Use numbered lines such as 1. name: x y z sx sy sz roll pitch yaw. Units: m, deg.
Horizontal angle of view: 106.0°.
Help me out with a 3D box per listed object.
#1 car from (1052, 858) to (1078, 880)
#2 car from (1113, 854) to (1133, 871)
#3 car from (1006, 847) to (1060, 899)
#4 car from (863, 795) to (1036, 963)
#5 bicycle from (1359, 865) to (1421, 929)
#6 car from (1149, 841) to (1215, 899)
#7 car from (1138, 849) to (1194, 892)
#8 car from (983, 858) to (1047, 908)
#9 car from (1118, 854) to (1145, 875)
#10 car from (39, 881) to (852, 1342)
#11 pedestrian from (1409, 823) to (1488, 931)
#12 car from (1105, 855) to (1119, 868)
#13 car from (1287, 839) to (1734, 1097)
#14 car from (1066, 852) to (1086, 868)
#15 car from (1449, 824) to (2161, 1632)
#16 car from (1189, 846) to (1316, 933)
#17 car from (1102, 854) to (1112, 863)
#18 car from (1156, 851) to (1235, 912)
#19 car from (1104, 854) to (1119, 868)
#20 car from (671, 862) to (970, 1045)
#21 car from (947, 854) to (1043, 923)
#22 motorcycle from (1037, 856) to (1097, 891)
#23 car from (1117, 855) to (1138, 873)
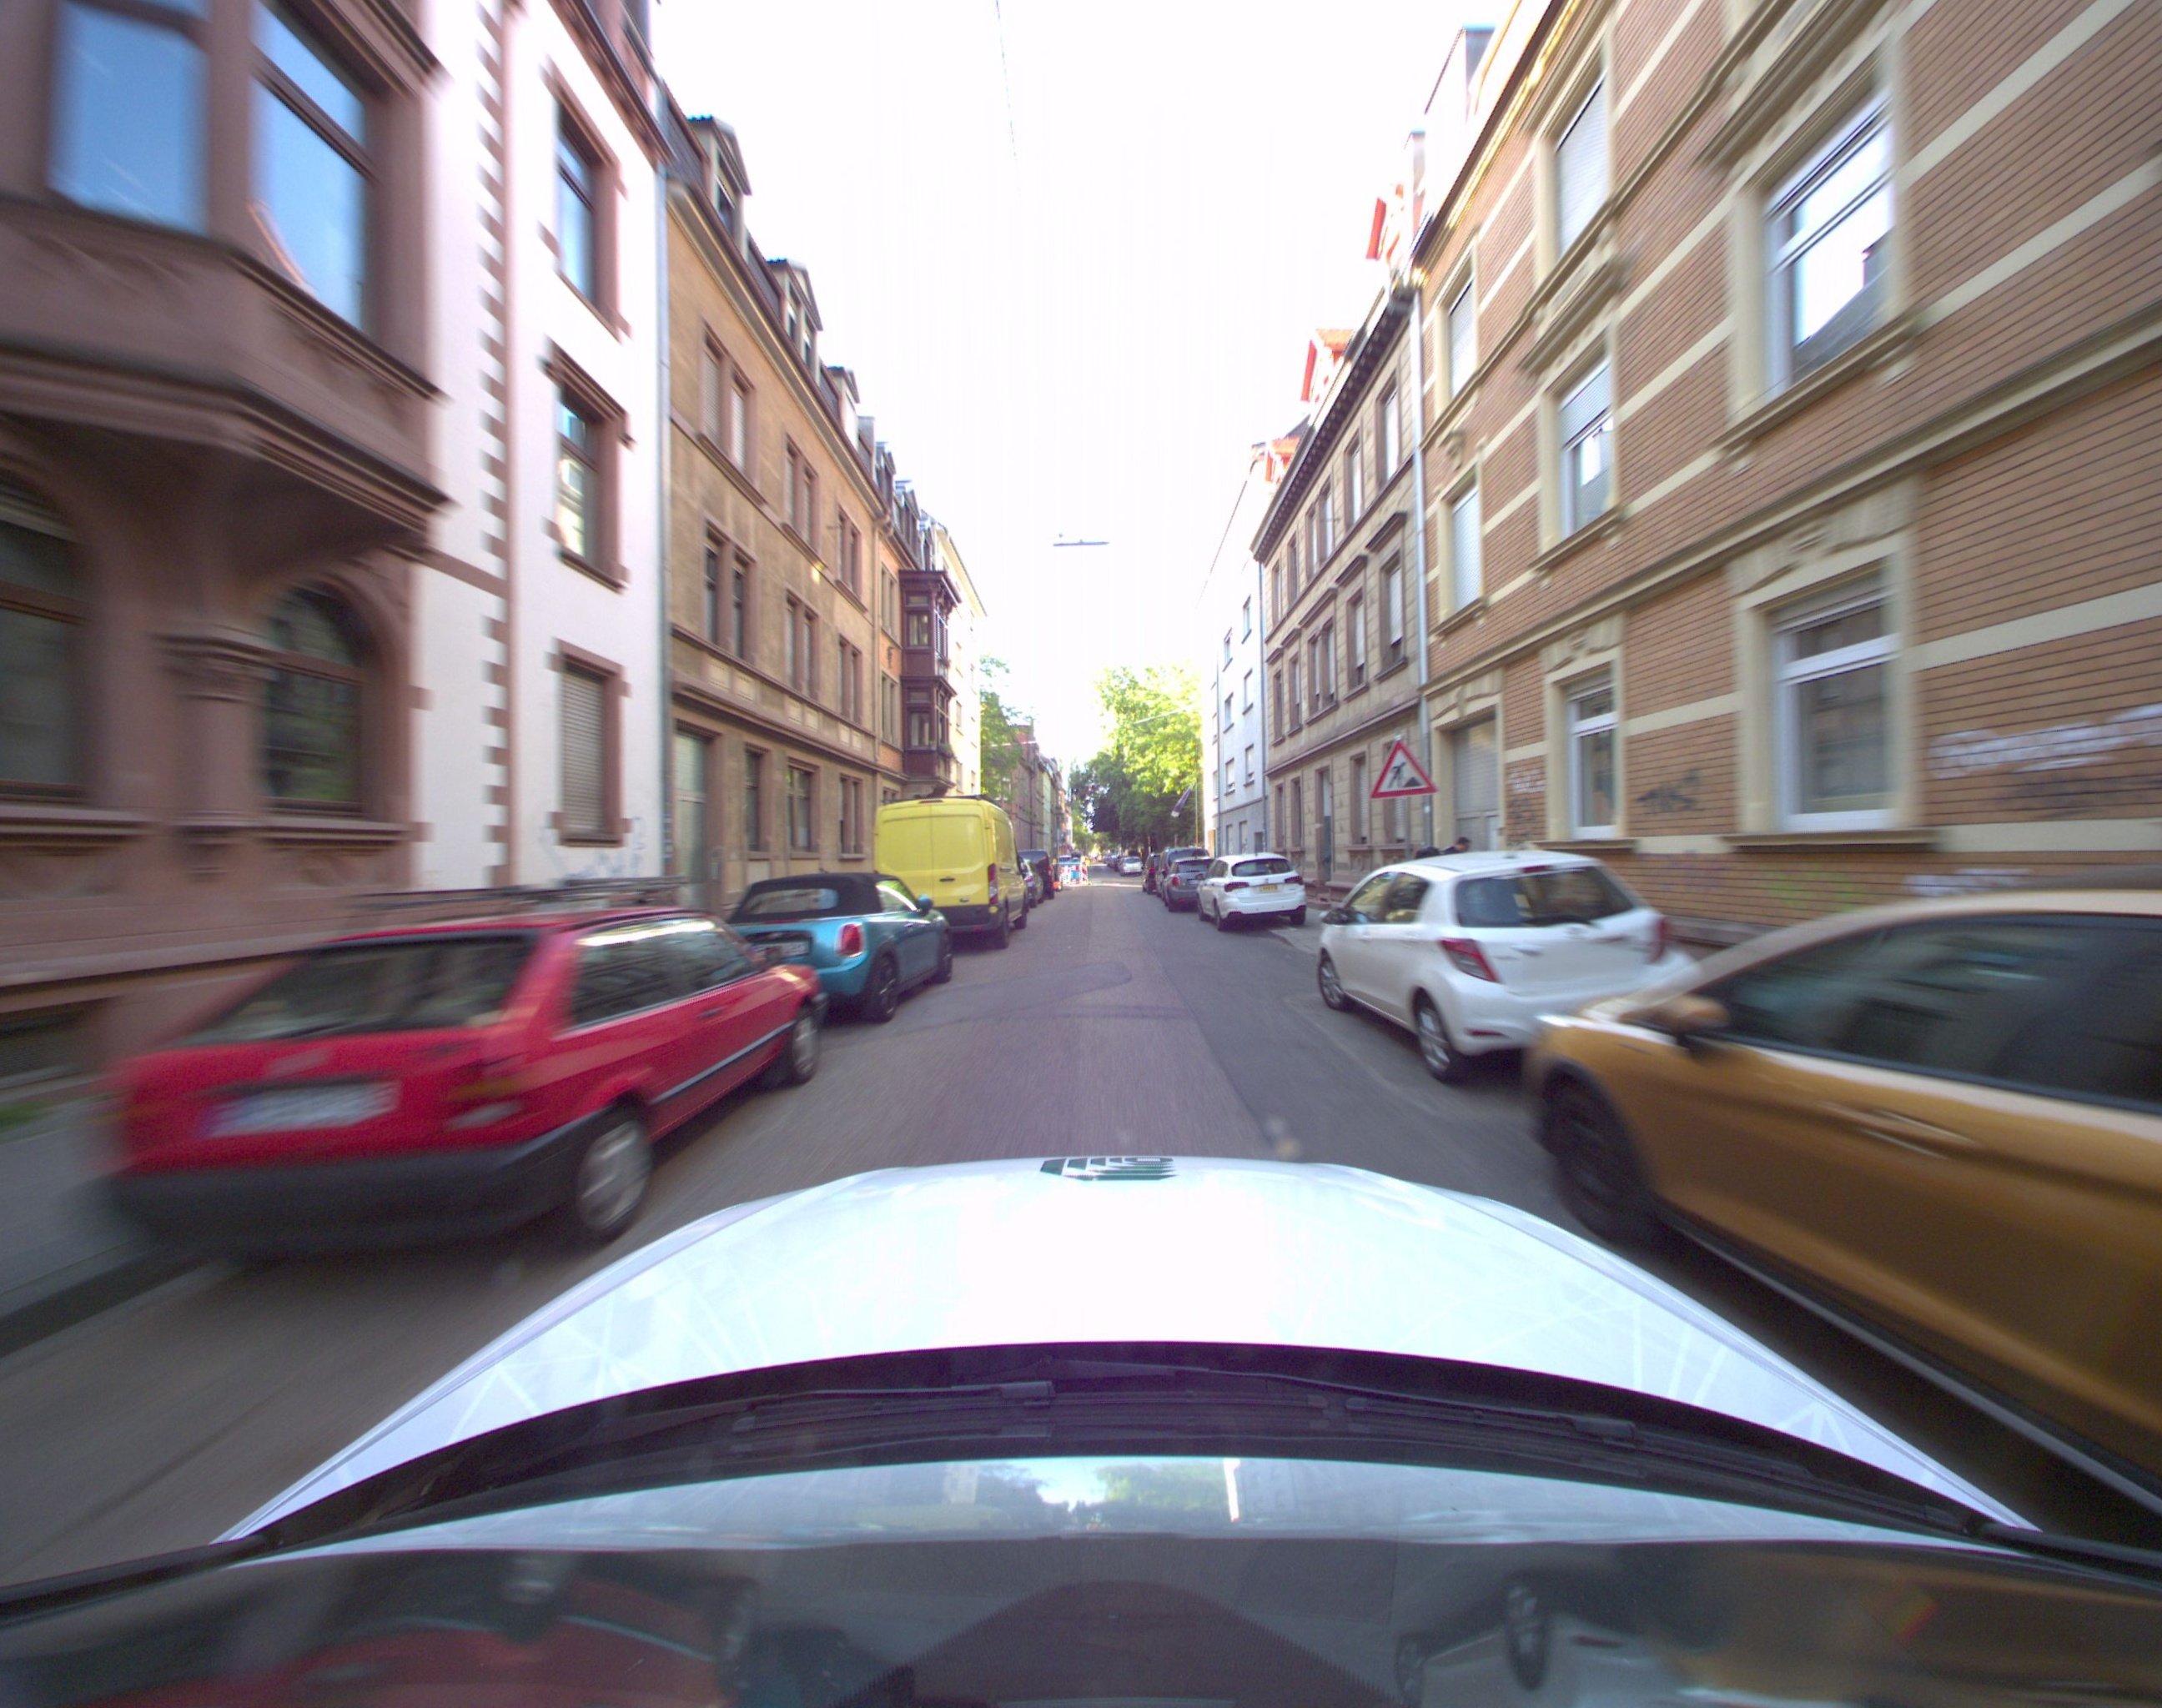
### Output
1. car: -1.329 1.284 69.440 1.875 1.707 4.001 -3 -1 2
2. car: 4.341 0.898 84.545 1.888 1.625 3.999 -1 -1 0
3. car: -1.732 0.668 30.448 1.814 1.766 4.332 -1 0 -2
4. car: -2.232 0.394 15.764 2.168 2.508 5.878 -4 0 1
5. bicycle: 5.708 0.767 15.126 0.515 1.066 1.568 -3 0 0
6. car: 3.524 0.522 29.158 1.748 1.786 4.724 -4 0 1
7. car: 3.451 0.660 33.828 1.894 1.640 4.391 -1 -1 1
8. car: -2.027 0.863 26.008 1.671 1.449 3.645 0 0 1
9. car: 3.925 0.783 63.348 1.719 1.522 3.997 -2 0 -2
10. car: -2.646 0.922 4.552 1.613 1.326 3.612 -4 0 0
11. pedestrian: 5.811 0.359 12.893 0.659 1.630 0.870 -2 -1 -41
12. car: 4.422 1.080 115.618 1.823 1.703 4.000 -1 0 0
13. car: 3.229 0.723 7.189 1.715 1.480 4.082 -5 0 0
14. car: -0.614 0.796 107.468 2.300 2.114 5.172 -1 -1 2
15. car: 2.857 0.687 2.219 1.748 1.446 4.067 -5 0 -1
16. car: 3.580 0.673 17.829 1.748 1.518 4.443 -5 0 0
17. car: 5.485 0.906 172.682 1.987 1.728 4.000 -2 0 1
18. car: 3.229 0.729 23.721 1.747 1.452 4.290 -5 0 3
19. car: 5.035 1.120 134.922 2.154 2.255 4.524 -1 -1 0
20. car: -2.562 0.896 9.091 1.711 1.412 3.902 -6 0 4
21. car: -2.105 0.815 21.080 1.987 1.552 4.000 -2 0 0
22. motorcycle: -0.609 0.845 36.074 2.525 1.482 0.896 -1 0 -26
23. car: 4.571 0.960 79.710 1.835 1.596 4.000 -1 0 0
